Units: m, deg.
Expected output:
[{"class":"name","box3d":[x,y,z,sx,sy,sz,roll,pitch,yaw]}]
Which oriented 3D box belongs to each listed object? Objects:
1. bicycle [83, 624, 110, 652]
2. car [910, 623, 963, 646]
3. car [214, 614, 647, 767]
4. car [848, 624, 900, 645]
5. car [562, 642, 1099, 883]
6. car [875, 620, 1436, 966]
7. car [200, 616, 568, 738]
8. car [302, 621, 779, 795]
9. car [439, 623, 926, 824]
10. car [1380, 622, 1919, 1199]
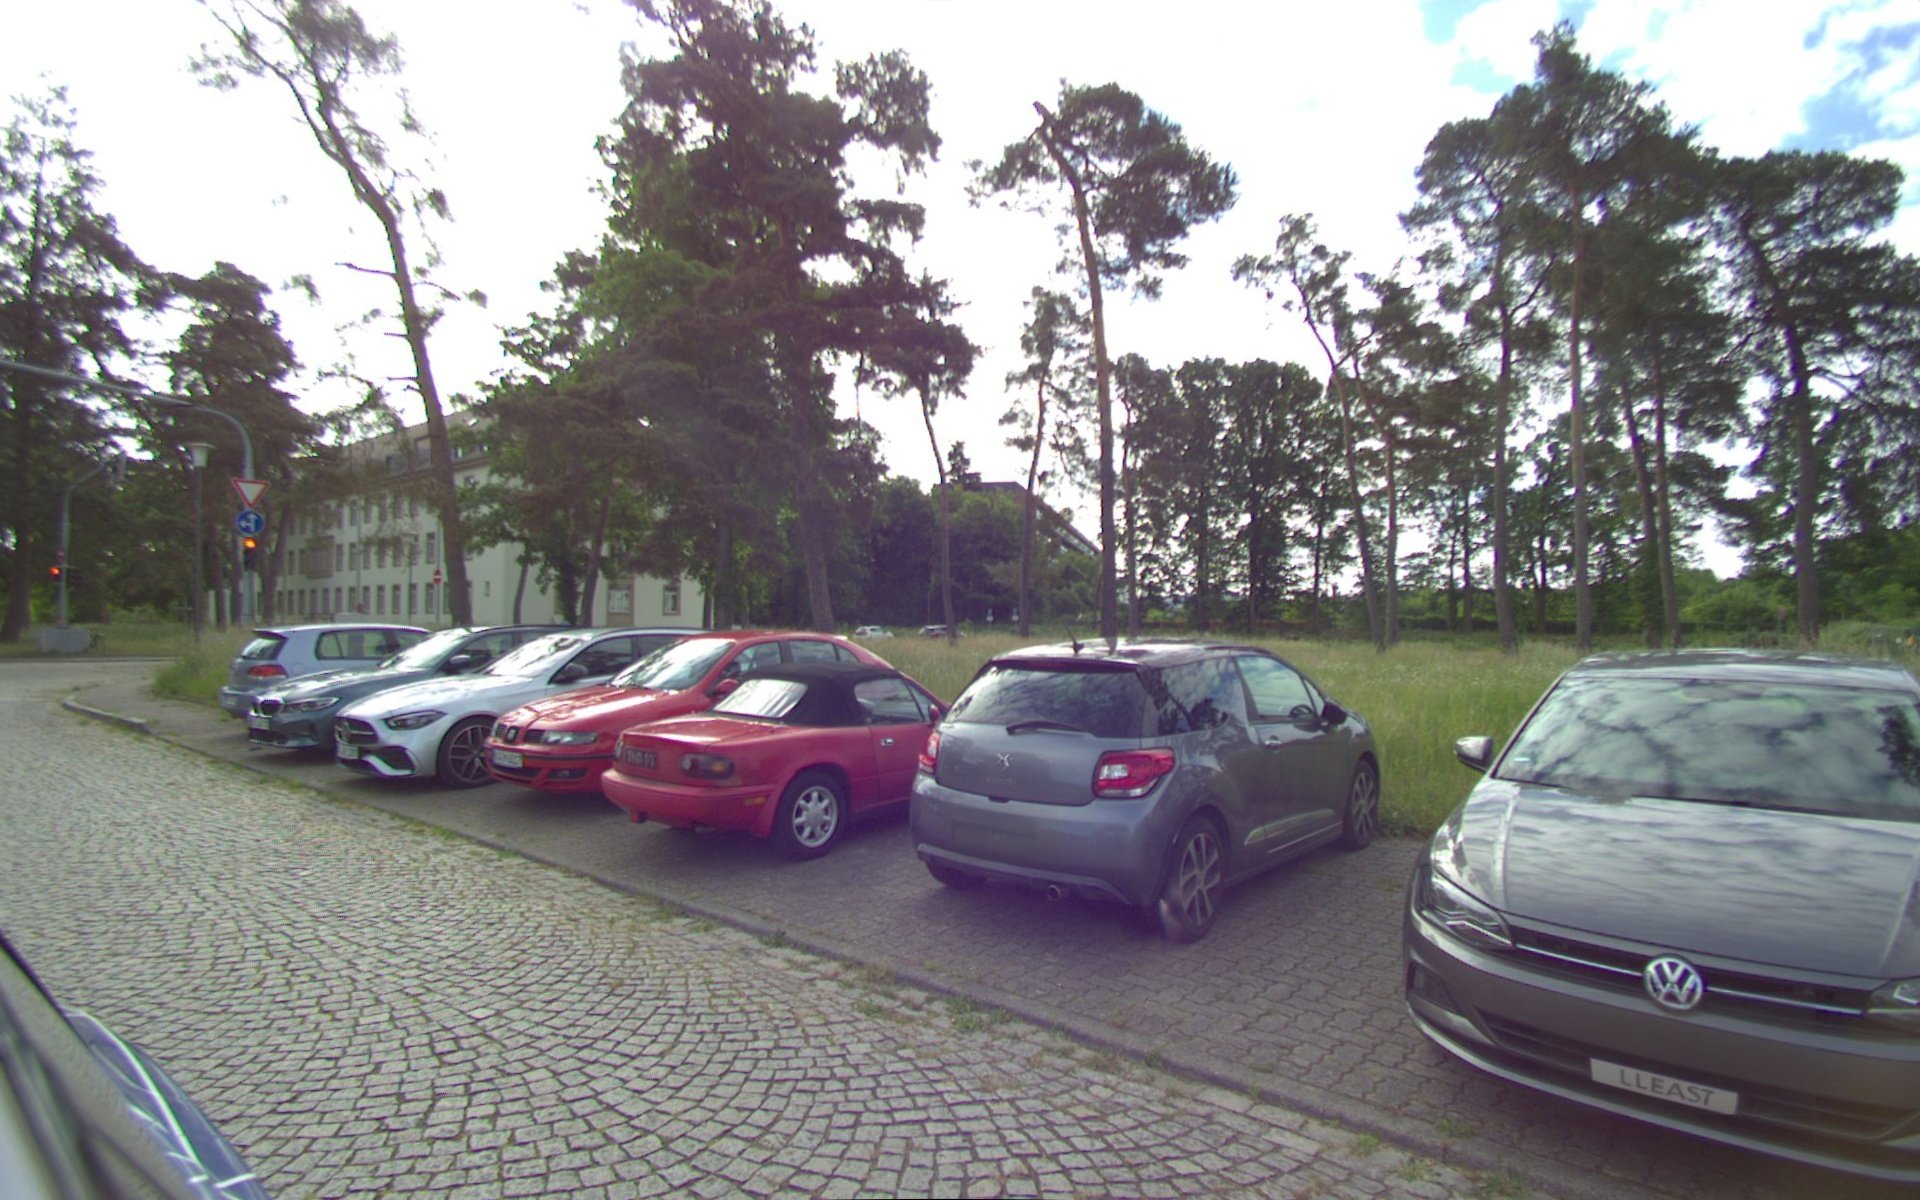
[{"class":"bicycle","box3d":[-34.324,1.505,40.221,1.414,1.082,0.491,0,1,37]},{"class":"car","box3d":[-1.754,2.620,76.866,1.716,1.622,4.001,1,0,42]},{"class":"car","box3d":[-6.385,0.968,12.710,1.867,1.548,4.460,0,-1,37]},{"class":"car","box3d":[-6.957,2.748,82.183,1.717,1.622,3.999,1,0,44]},{"class":"car","box3d":[-0.753,1.017,7.951,1.762,1.293,4.089,-1,-2,40]},{"class":"car","box3d":[1.510,0.875,6.487,1.754,1.492,4.045,-1,-2,41]},{"class":"car","box3d":[-8.167,0.993,14.673,1.826,1.481,4.284,0,-1,41]},{"class":"car","box3d":[-4.316,0.975,11.001,1.948,1.466,4.391,0,-1,40]},{"class":"car","box3d":[-2.407,0.959,9.688,1.854,1.466,4.211,-1,-2,40]},{"class":"car","box3d":[3.384,0.845,4.233,1.730,1.492,4.259,-1,-2,41]}]
